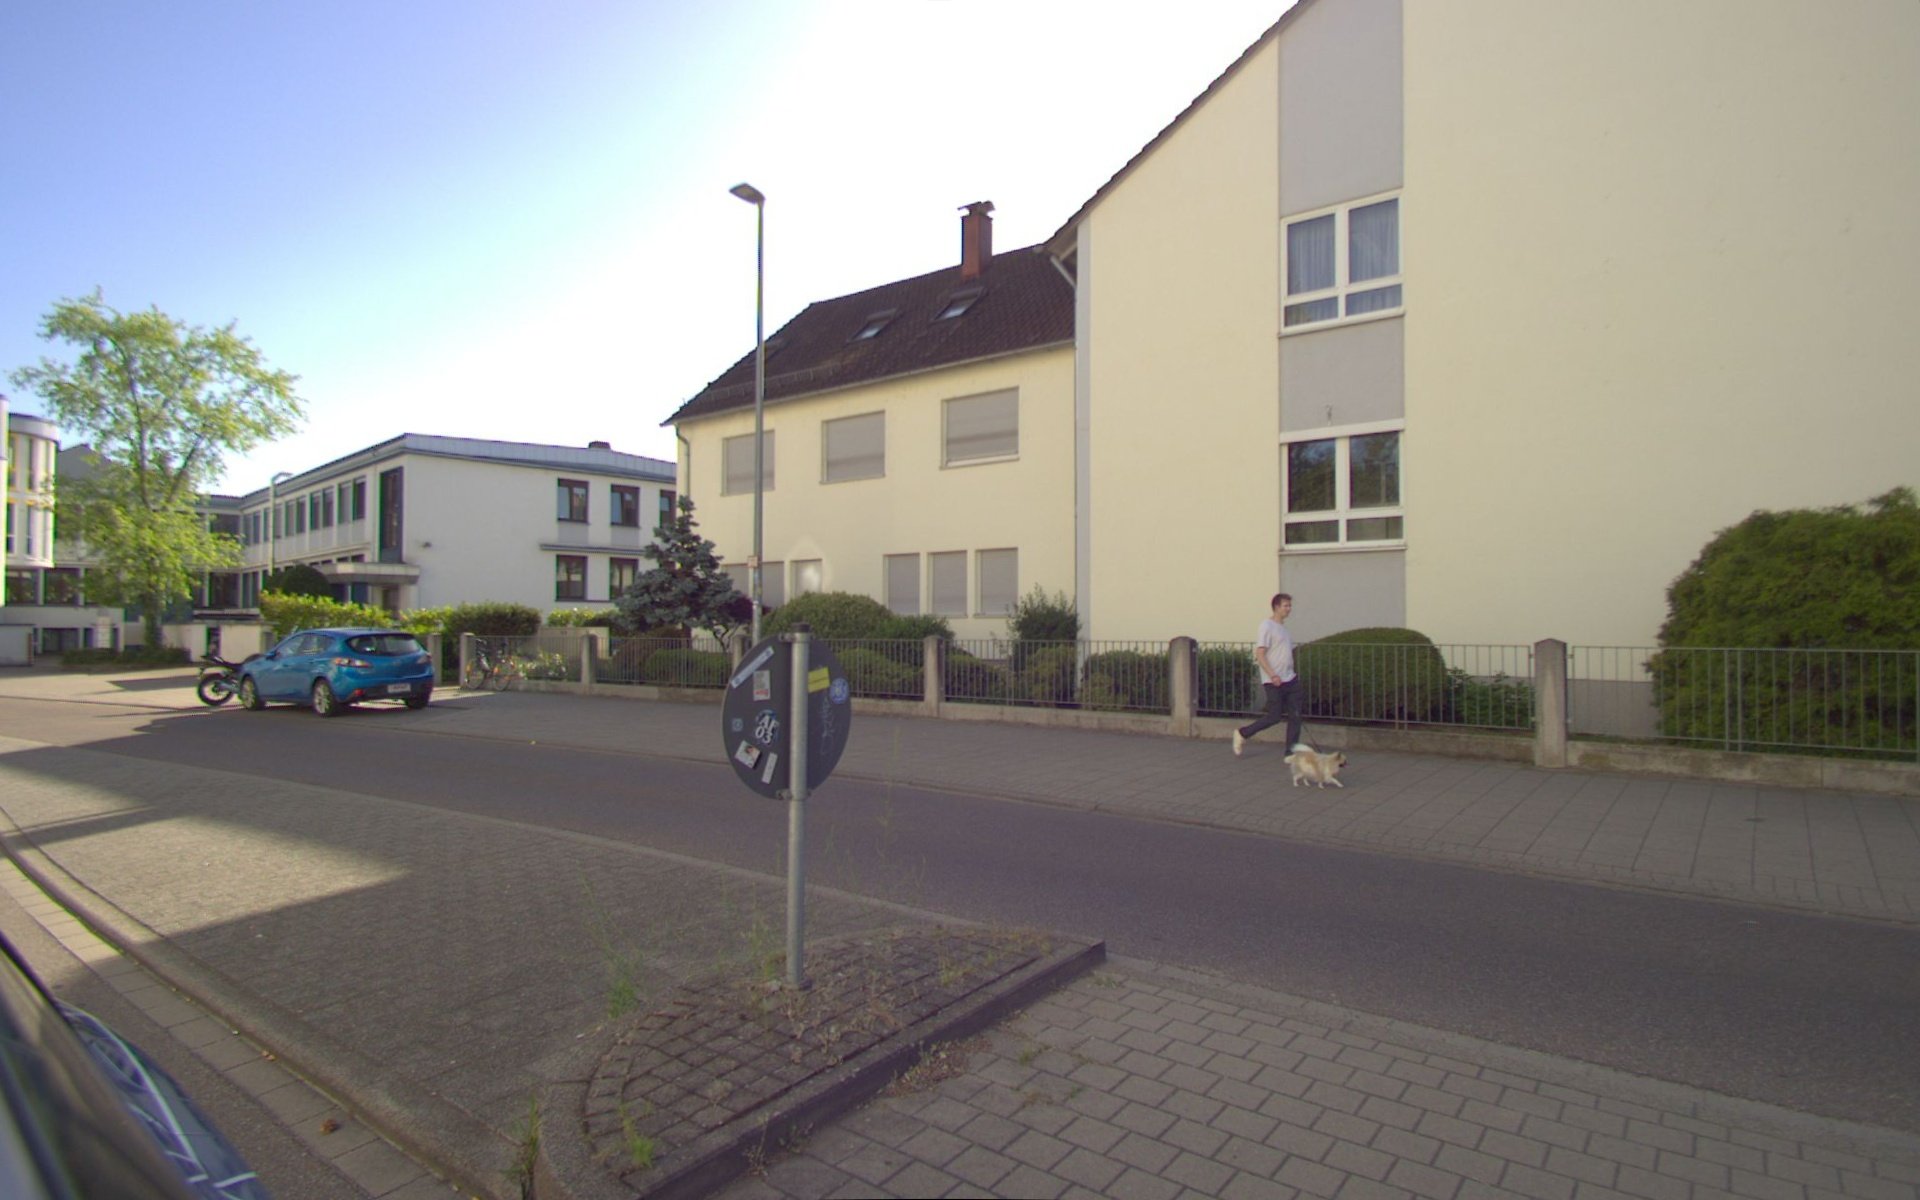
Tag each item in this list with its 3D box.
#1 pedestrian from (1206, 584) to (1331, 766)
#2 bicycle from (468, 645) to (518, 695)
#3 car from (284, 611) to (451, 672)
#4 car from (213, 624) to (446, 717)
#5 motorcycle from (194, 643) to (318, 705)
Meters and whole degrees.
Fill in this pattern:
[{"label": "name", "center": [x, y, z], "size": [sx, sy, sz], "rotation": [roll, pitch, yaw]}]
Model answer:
[{"label": "pedestrian", "center": [3.081, 0.715, 10.122], "size": [0.996, 1.718, 0.683], "rotation": [-1, -1, 40]}, {"label": "bicycle", "center": [-9.834, 1.460, 21.299], "size": [1.260, 1.023, 0.342], "rotation": [-1, -3, 34]}, {"label": "car", "center": [-17.911, 1.257, 30.715], "size": [1.999, 1.729, 3.945], "rotation": [-2, -3, 41]}, {"label": "car", "center": [-11.352, 1.191, 18.146], "size": [4.401, 1.445, 1.865], "rotation": [-2, -1, 33]}, {"label": "motorcycle", "center": [-13.805, 1.439, 19.909], "size": [1.930, 1.103, 0.592], "rotation": [-1, -1, -29]}]
